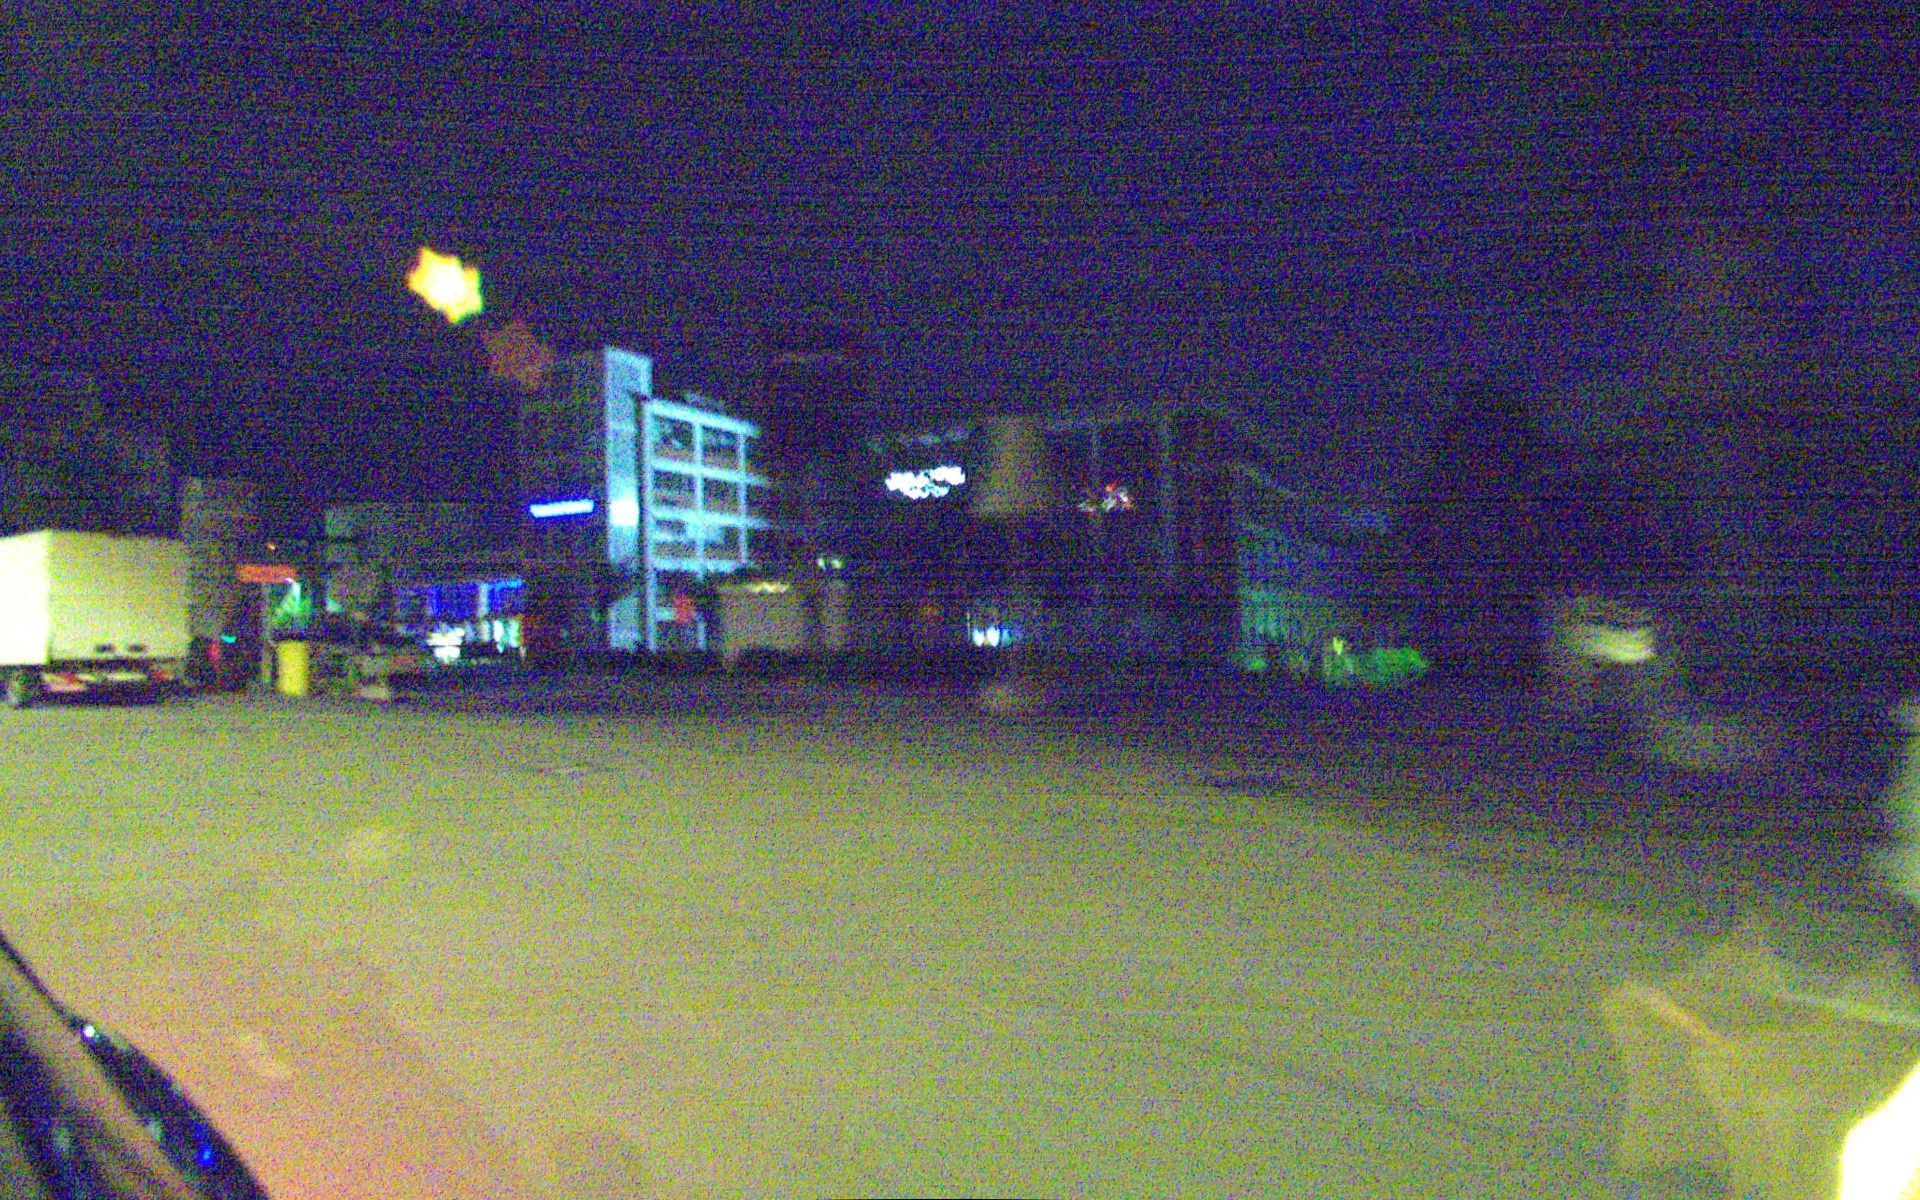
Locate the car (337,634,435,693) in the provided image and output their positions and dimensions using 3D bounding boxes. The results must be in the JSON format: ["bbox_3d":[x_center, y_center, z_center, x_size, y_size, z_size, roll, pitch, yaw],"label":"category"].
[{"bbox_3d":[-17.448,1.875,30.688,1.834,1.652,4.006,2,-2,-40],"label":"car"}]

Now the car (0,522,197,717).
[{"bbox_3d":[-18.117,0.399,19.782,7.199,3.268,2.366,-1,-1,29],"label":"car"}]

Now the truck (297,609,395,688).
[{"bbox_3d":[-22.637,1.707,37.149,2.105,2.633,7.112,2,-2,-39],"label":"truck"}]
